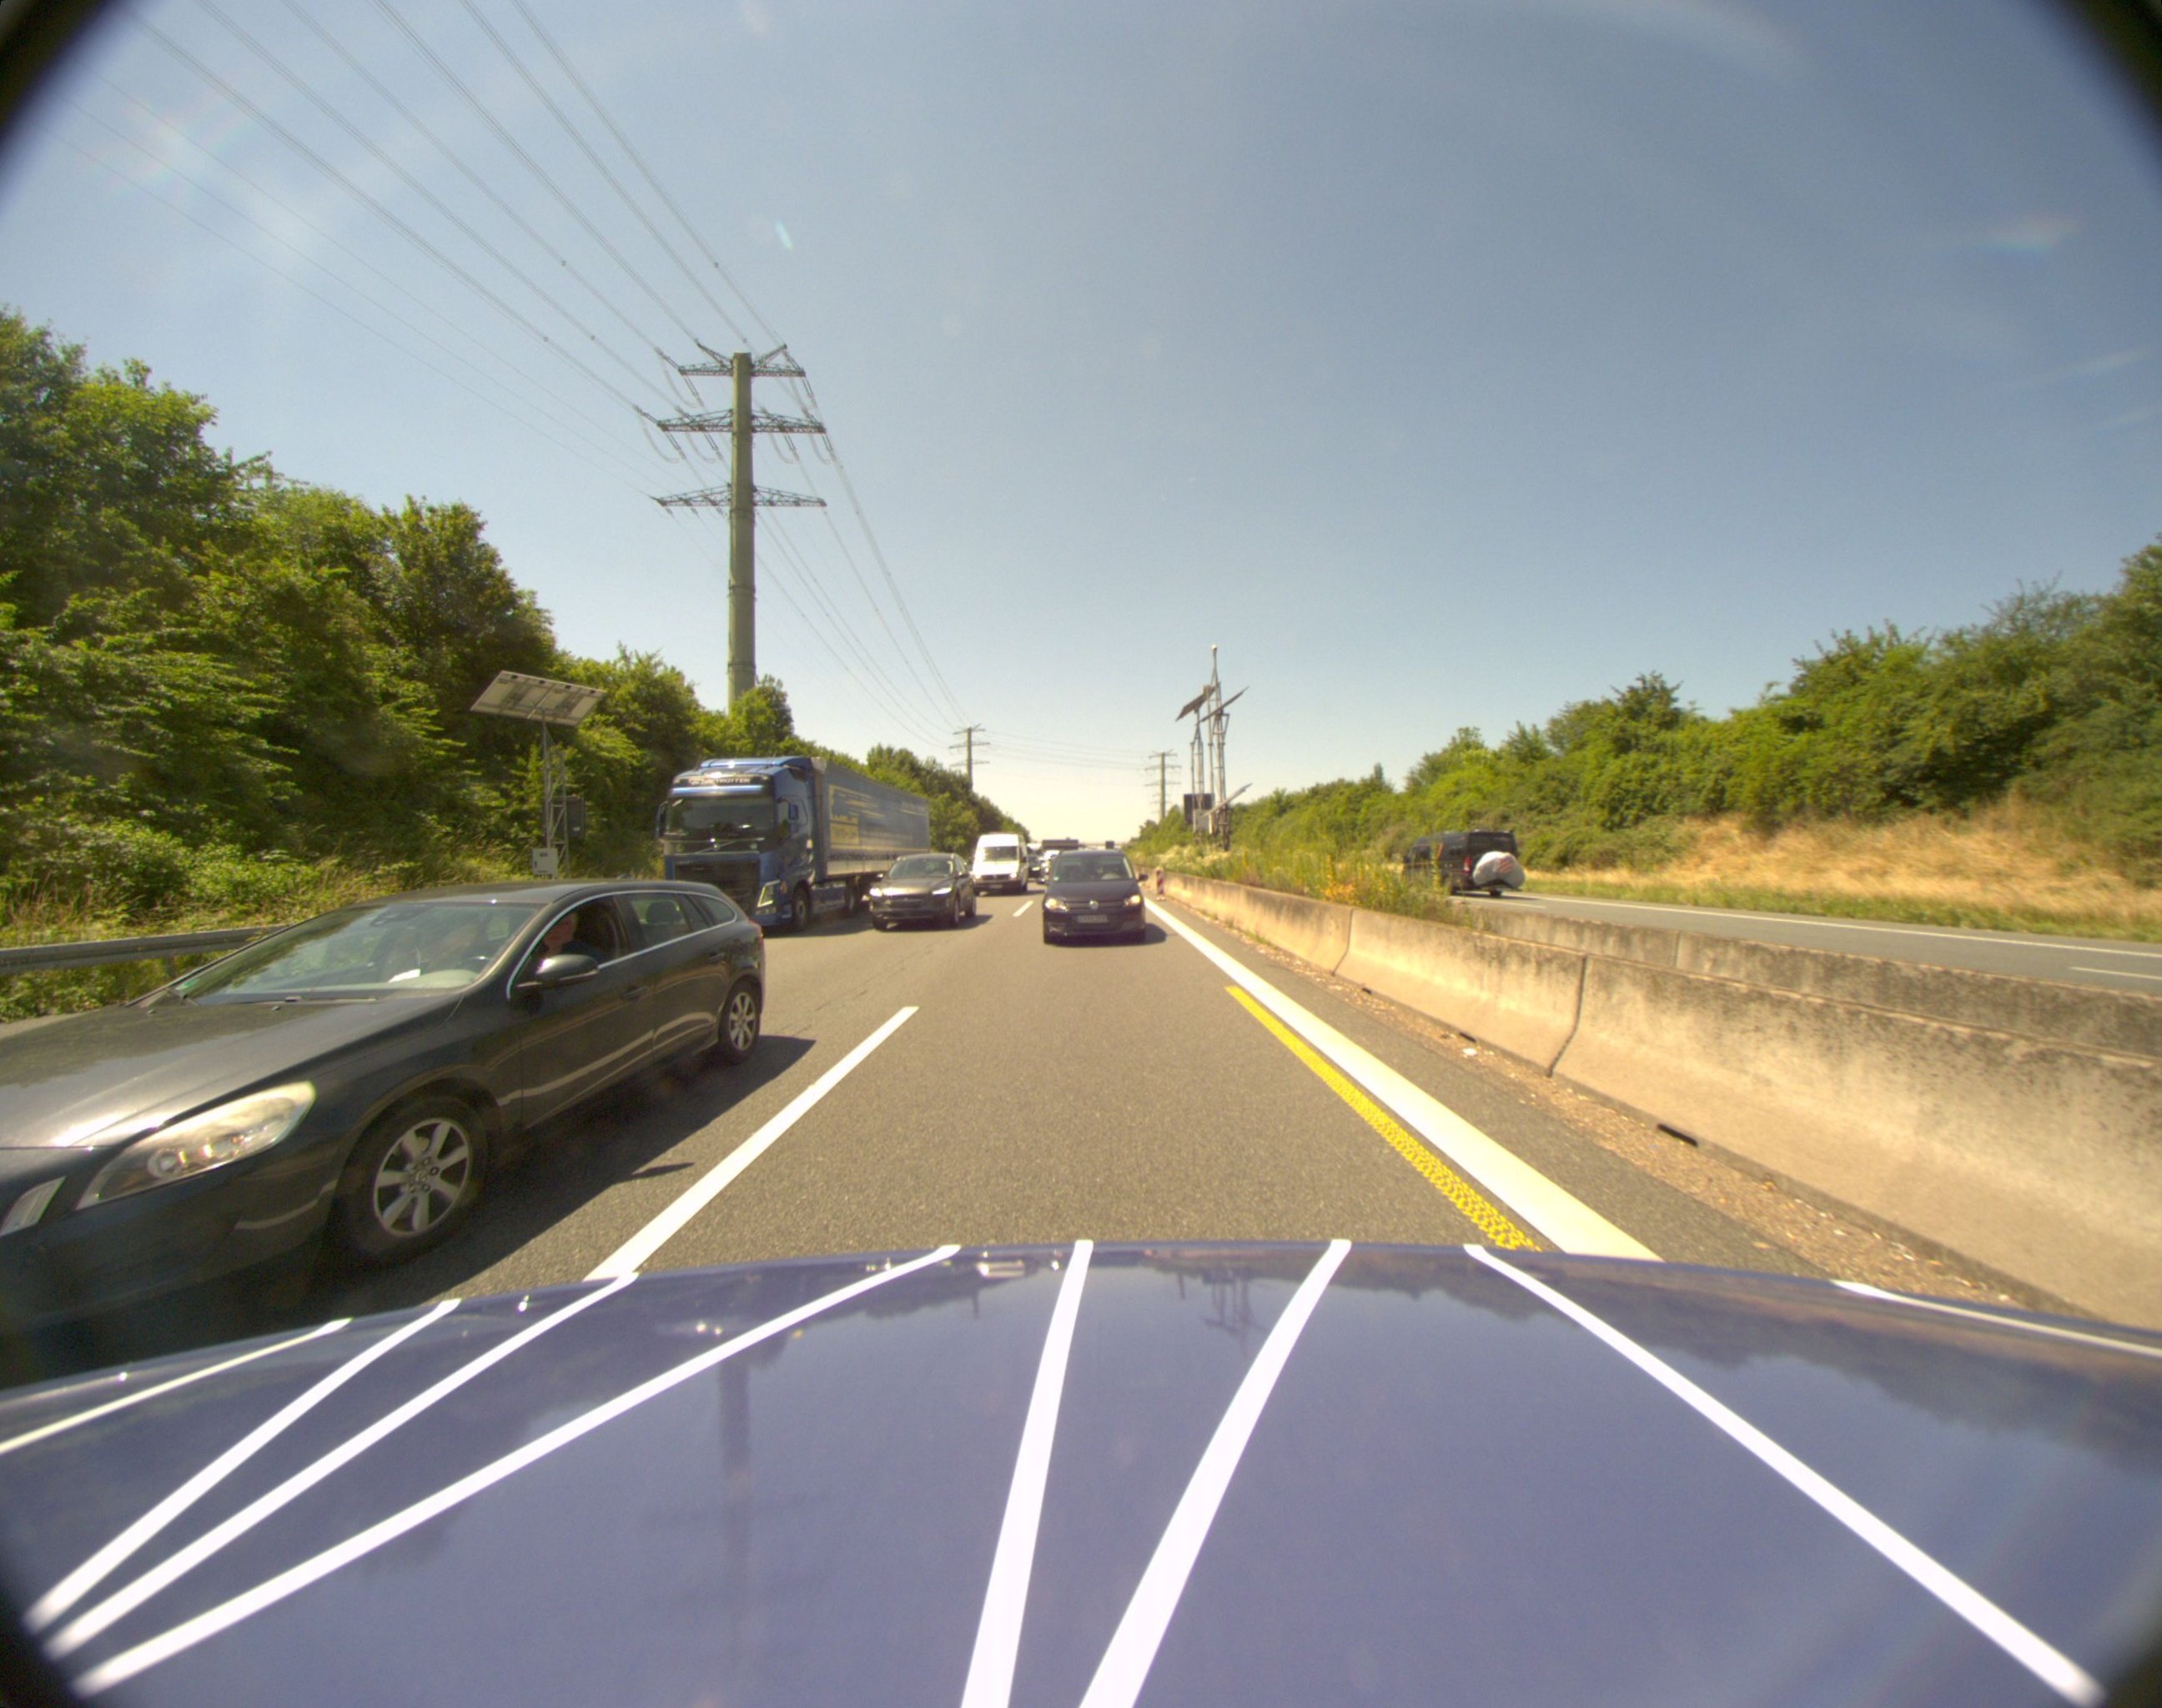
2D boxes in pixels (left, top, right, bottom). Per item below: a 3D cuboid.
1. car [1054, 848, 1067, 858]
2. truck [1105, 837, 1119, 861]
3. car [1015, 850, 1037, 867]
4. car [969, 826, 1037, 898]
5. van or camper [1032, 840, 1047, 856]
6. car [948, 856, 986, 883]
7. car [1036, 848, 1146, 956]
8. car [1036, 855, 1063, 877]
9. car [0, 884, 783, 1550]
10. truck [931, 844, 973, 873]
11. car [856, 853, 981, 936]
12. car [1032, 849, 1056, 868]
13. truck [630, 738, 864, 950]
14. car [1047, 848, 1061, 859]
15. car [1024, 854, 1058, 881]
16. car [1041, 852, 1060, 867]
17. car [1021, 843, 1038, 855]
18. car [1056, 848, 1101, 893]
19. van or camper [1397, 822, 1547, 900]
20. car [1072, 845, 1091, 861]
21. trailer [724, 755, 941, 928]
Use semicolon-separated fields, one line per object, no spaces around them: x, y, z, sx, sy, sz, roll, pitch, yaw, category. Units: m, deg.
-3.212;-0.133;119.200;1.720;1.510;3.873;-2;1;1;car
4.490;-0.753;111.107;1.892;3.264;5.590;-2;1;1;truck
-5.396;0.422;74.435;1.720;1.510;3.873;-2;1;1;car
-3.194;0.262;32.542;2.042;2.703;6.705;-2;1;1;car
-6.936;-0.985;127.793;1.978;2.511;4.369;-2;1;1;van or camper
-7.381;0.980;49.399;1.720;1.510;3.873;-2;1;1;car
0.178;0.749;14.261;1.700;1.641;4.219;-2;1;1;car
-2.344;0.893;57.177;1.720;1.510;3.873;-2;1;1;car
-3.458;1.022;4.119;1.799;1.411;4.509;-2;1;1;car
-10.442;0.320;62.156;2.253;2.155;5.728;-2;1;1;truck
-3.621;0.831;17.758;1.893;1.602;4.219;-2;1;1;car
-3.142;0.376;64.487;1.720;1.510;3.873;-2;1;1;car
-7.488;-0.230;18.026;2.792;4.121;5.636;-2;1;1;truck
-3.769;-0.111;107.948;1.720;1.510;3.873;-2;1;1;car
-2.436;0.784;46.963;1.720;1.510;3.873;-2;1;1;car
-3.228;0.591;81.126;1.720;1.510;3.873;-2;1;1;car
-6.561;-0.660;97.545;1.720;1.510;3.873;-2;1;1;car
-0.082;0.621;31.541;1.700;1.641;4.219;-2;1;1;car
15.304;0.205;30.413;2.228;2.695;7.079;1;1;-1;van or camper
0.103;-0.142;85.520;1.973;1.682;3.873;-2;1;1;car
-7.416;-0.392;25.522;2.774;4.239;12.876;-2;1;1;trailer
